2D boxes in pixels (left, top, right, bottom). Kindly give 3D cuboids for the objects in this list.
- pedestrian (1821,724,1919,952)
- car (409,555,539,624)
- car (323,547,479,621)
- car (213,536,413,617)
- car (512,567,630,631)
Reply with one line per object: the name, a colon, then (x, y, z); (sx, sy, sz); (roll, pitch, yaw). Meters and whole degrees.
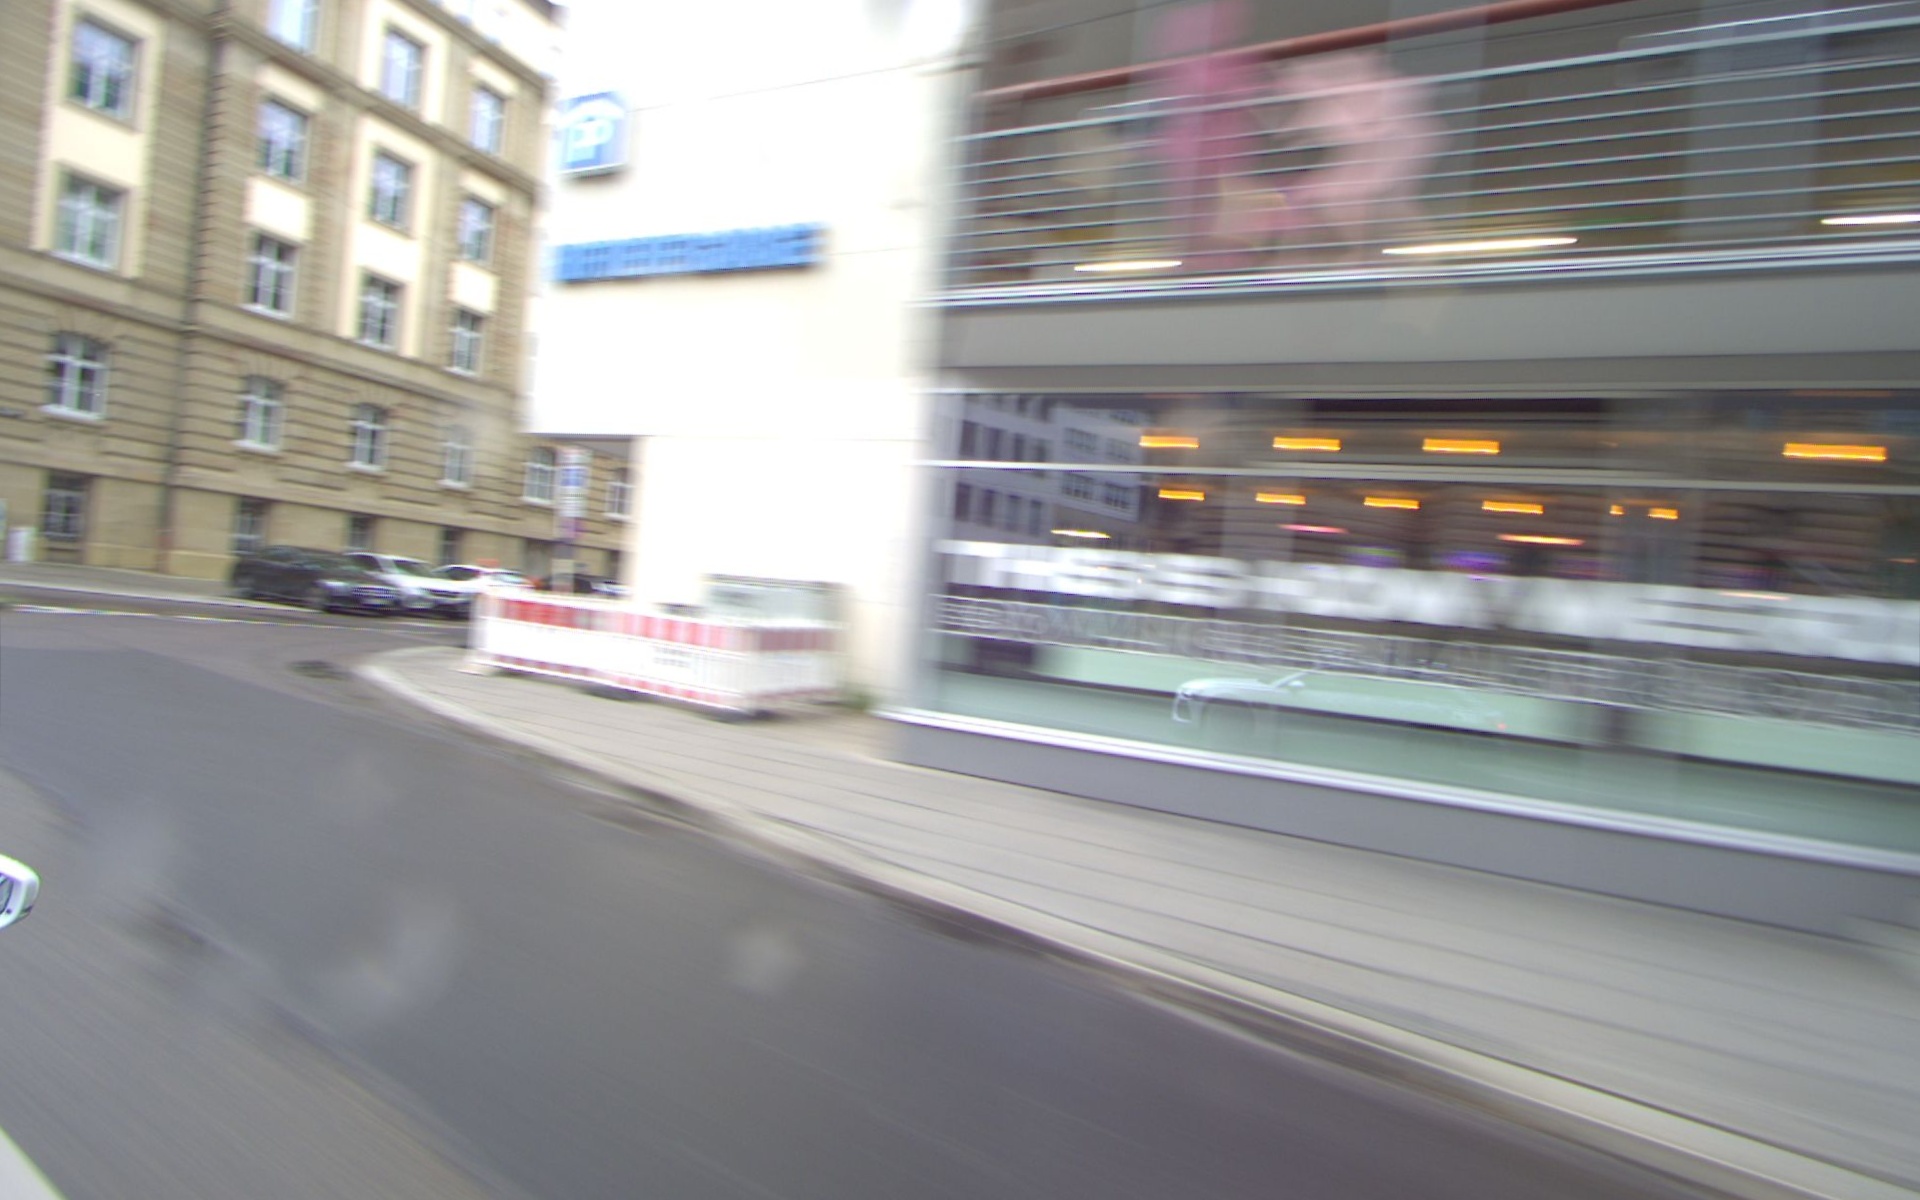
pedestrian: (5.588, 1.337, 5.391); (1.225, 1.136, 0.755); (7, 0, 26)
car: (-14.123, -0.313, 29.202); (3.517, 1.535, 1.684); (6, -1, 32)
car: (-15.122, -0.454, 27.167); (4.259, 1.472, 1.737); (6, -1, 32)
car: (-15.808, -0.586, 24.521); (4.914, 1.384, 1.739); (7, -1, 26)
car: (-12.645, -0.035, 32.676); (3.517, 1.594, 1.684); (6, -1, 32)
